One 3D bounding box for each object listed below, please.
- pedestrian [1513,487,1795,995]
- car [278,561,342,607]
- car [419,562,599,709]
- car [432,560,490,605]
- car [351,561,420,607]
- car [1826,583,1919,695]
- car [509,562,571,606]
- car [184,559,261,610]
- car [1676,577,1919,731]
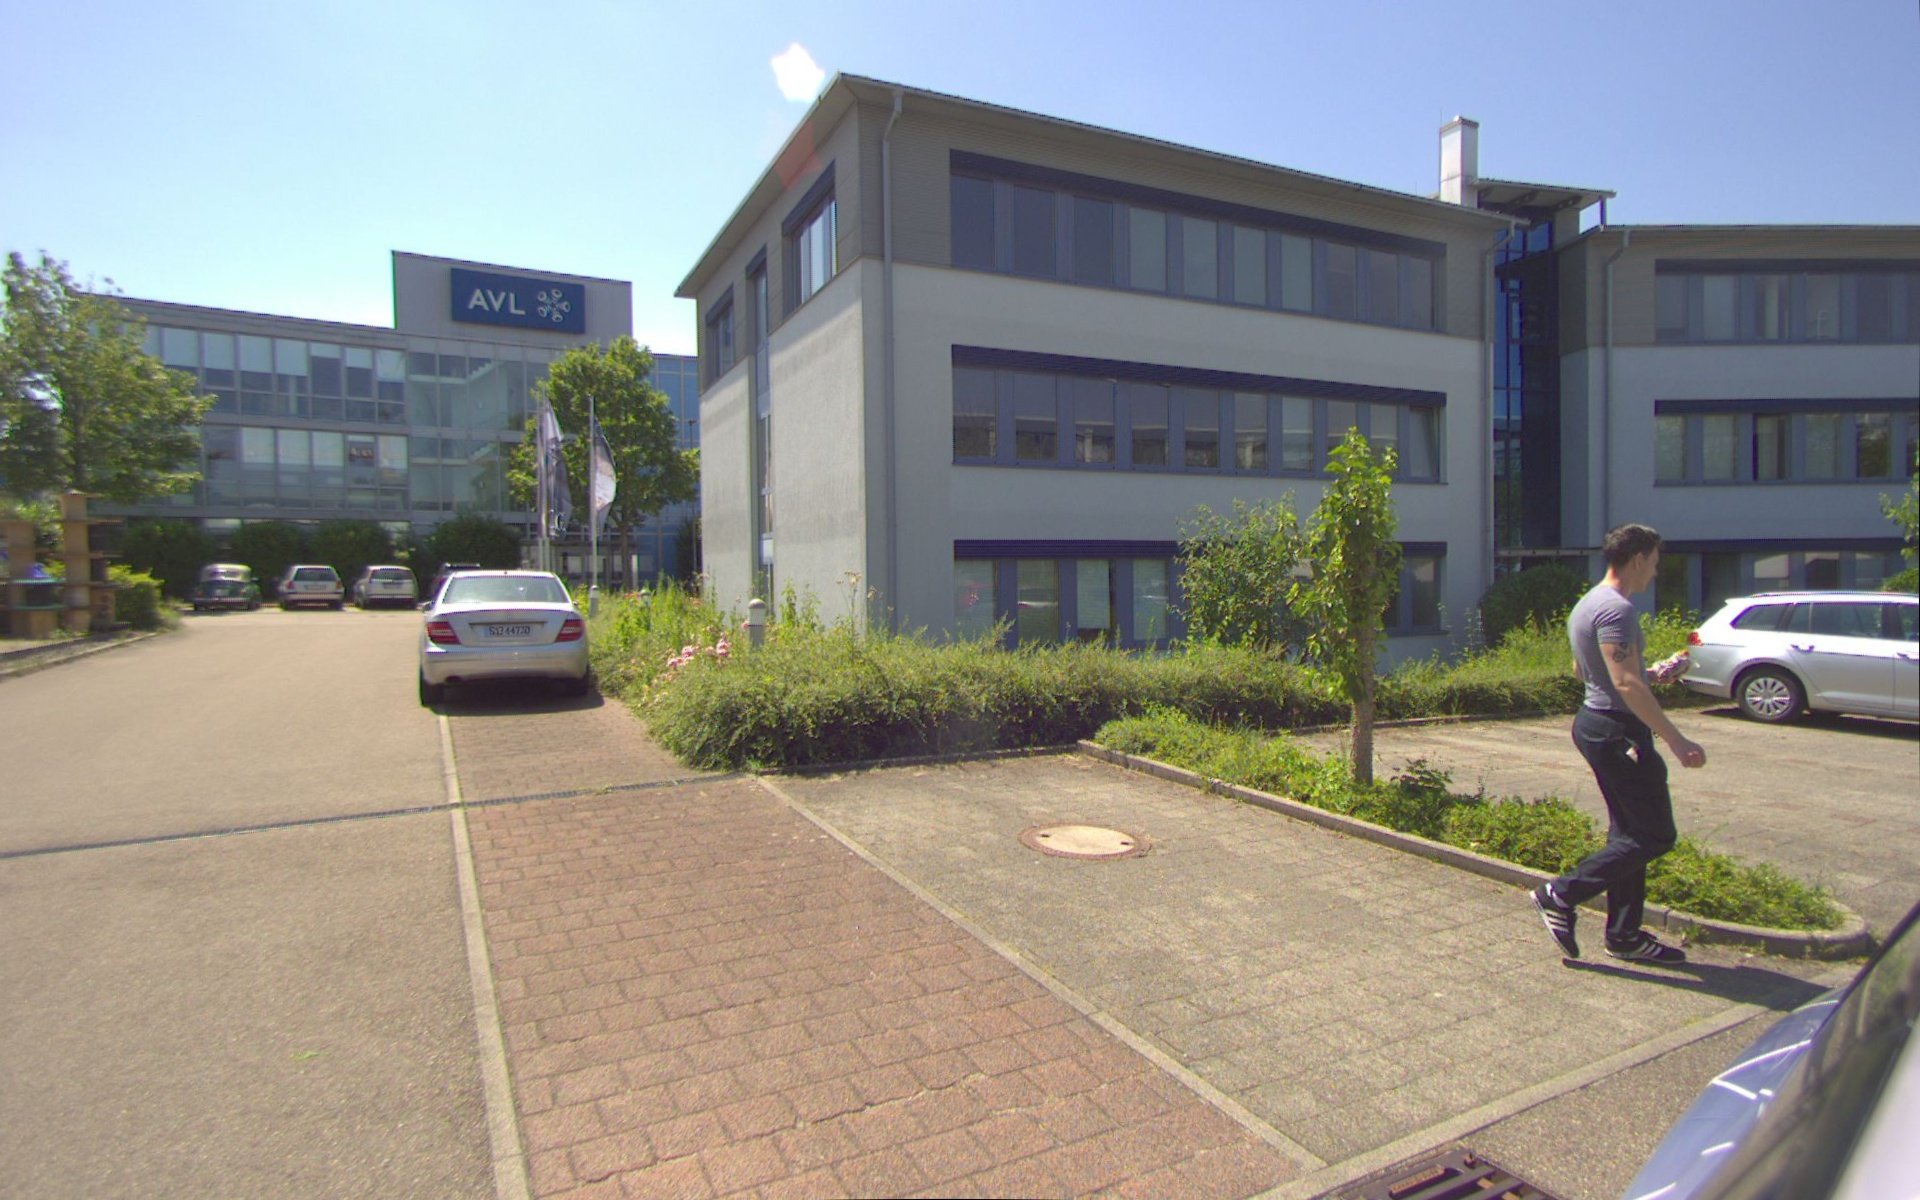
[{"bbox_3d":[2.724,0.488,3.997,0.772,1.779,0.620,0,0,-26],"label":"pedestrian"},{"bbox_3d":[-22.016,-0.539,34.235,1.643,1.458,3.999,-1,1,-36],"label":"car"},{"bbox_3d":[-5.475,0.320,12.077,1.694,1.454,3.722,0,1,-28],"label":"car"},{"bbox_3d":[-18.197,-0.645,36.811,1.714,1.538,4.005,0,1,-29],"label":"car"},{"bbox_3d":[-20.415,-0.562,35.911,1.717,1.538,3.999,0,1,-36],"label":"car"},{"bbox_3d":[13.391,0.532,12.443,1.619,1.409,3.832,0,2,-30],"label":"car"},{"bbox_3d":[-15.757,-0.586,37.892,1.714,1.538,4.005,0,1,-29],"label":"car"},{"bbox_3d":[-23.918,-0.510,32.932,1.715,1.538,4.003,0,1,-31],"label":"car"},{"bbox_3d":[10.405,0.544,10.497,1.792,1.515,4.526,0,2,-30],"label":"car"}]
